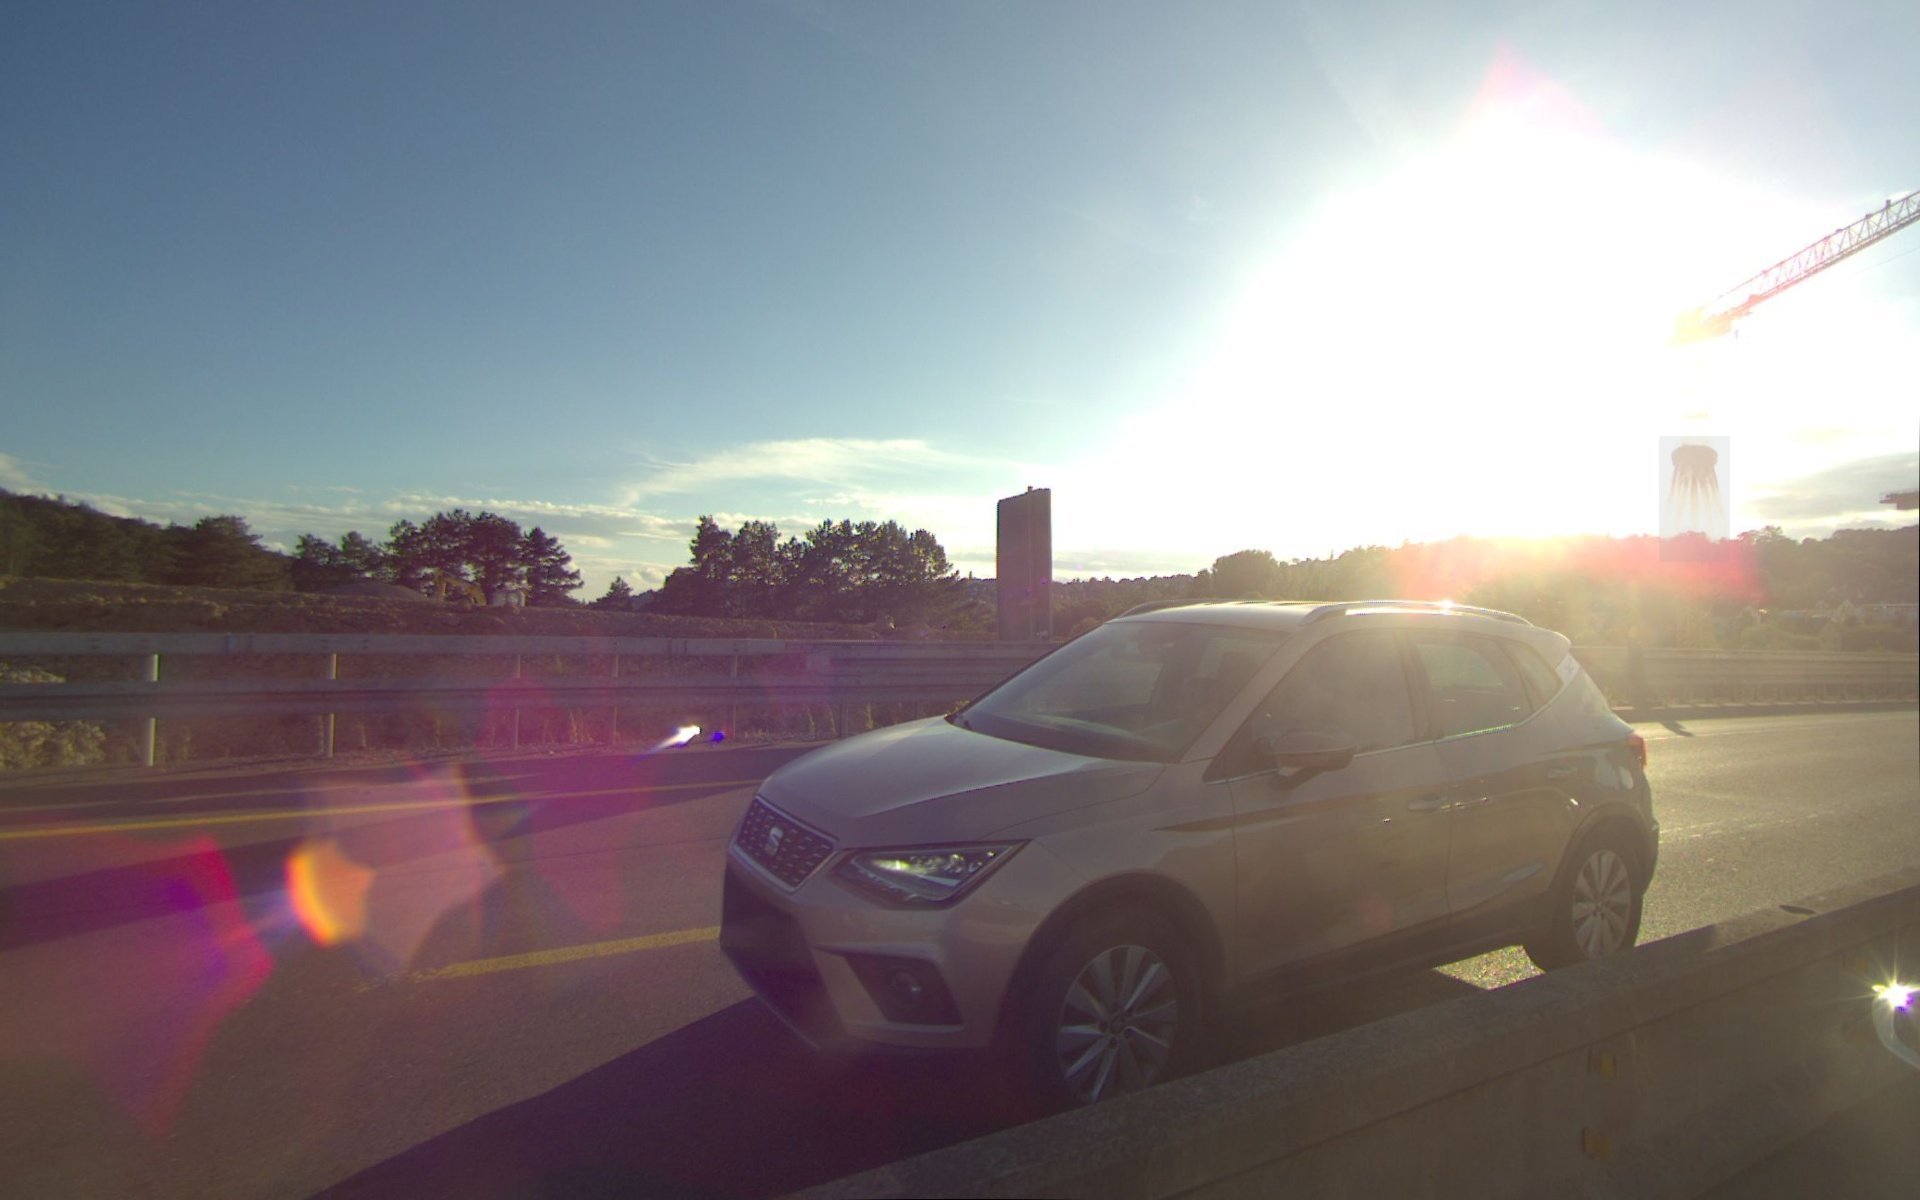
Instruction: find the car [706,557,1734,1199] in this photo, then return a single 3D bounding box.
[{"bbox_3d":[1.204,0.752,4.060,3.956,1.555,1.757,3,-1,-32],"label":"car"}]
